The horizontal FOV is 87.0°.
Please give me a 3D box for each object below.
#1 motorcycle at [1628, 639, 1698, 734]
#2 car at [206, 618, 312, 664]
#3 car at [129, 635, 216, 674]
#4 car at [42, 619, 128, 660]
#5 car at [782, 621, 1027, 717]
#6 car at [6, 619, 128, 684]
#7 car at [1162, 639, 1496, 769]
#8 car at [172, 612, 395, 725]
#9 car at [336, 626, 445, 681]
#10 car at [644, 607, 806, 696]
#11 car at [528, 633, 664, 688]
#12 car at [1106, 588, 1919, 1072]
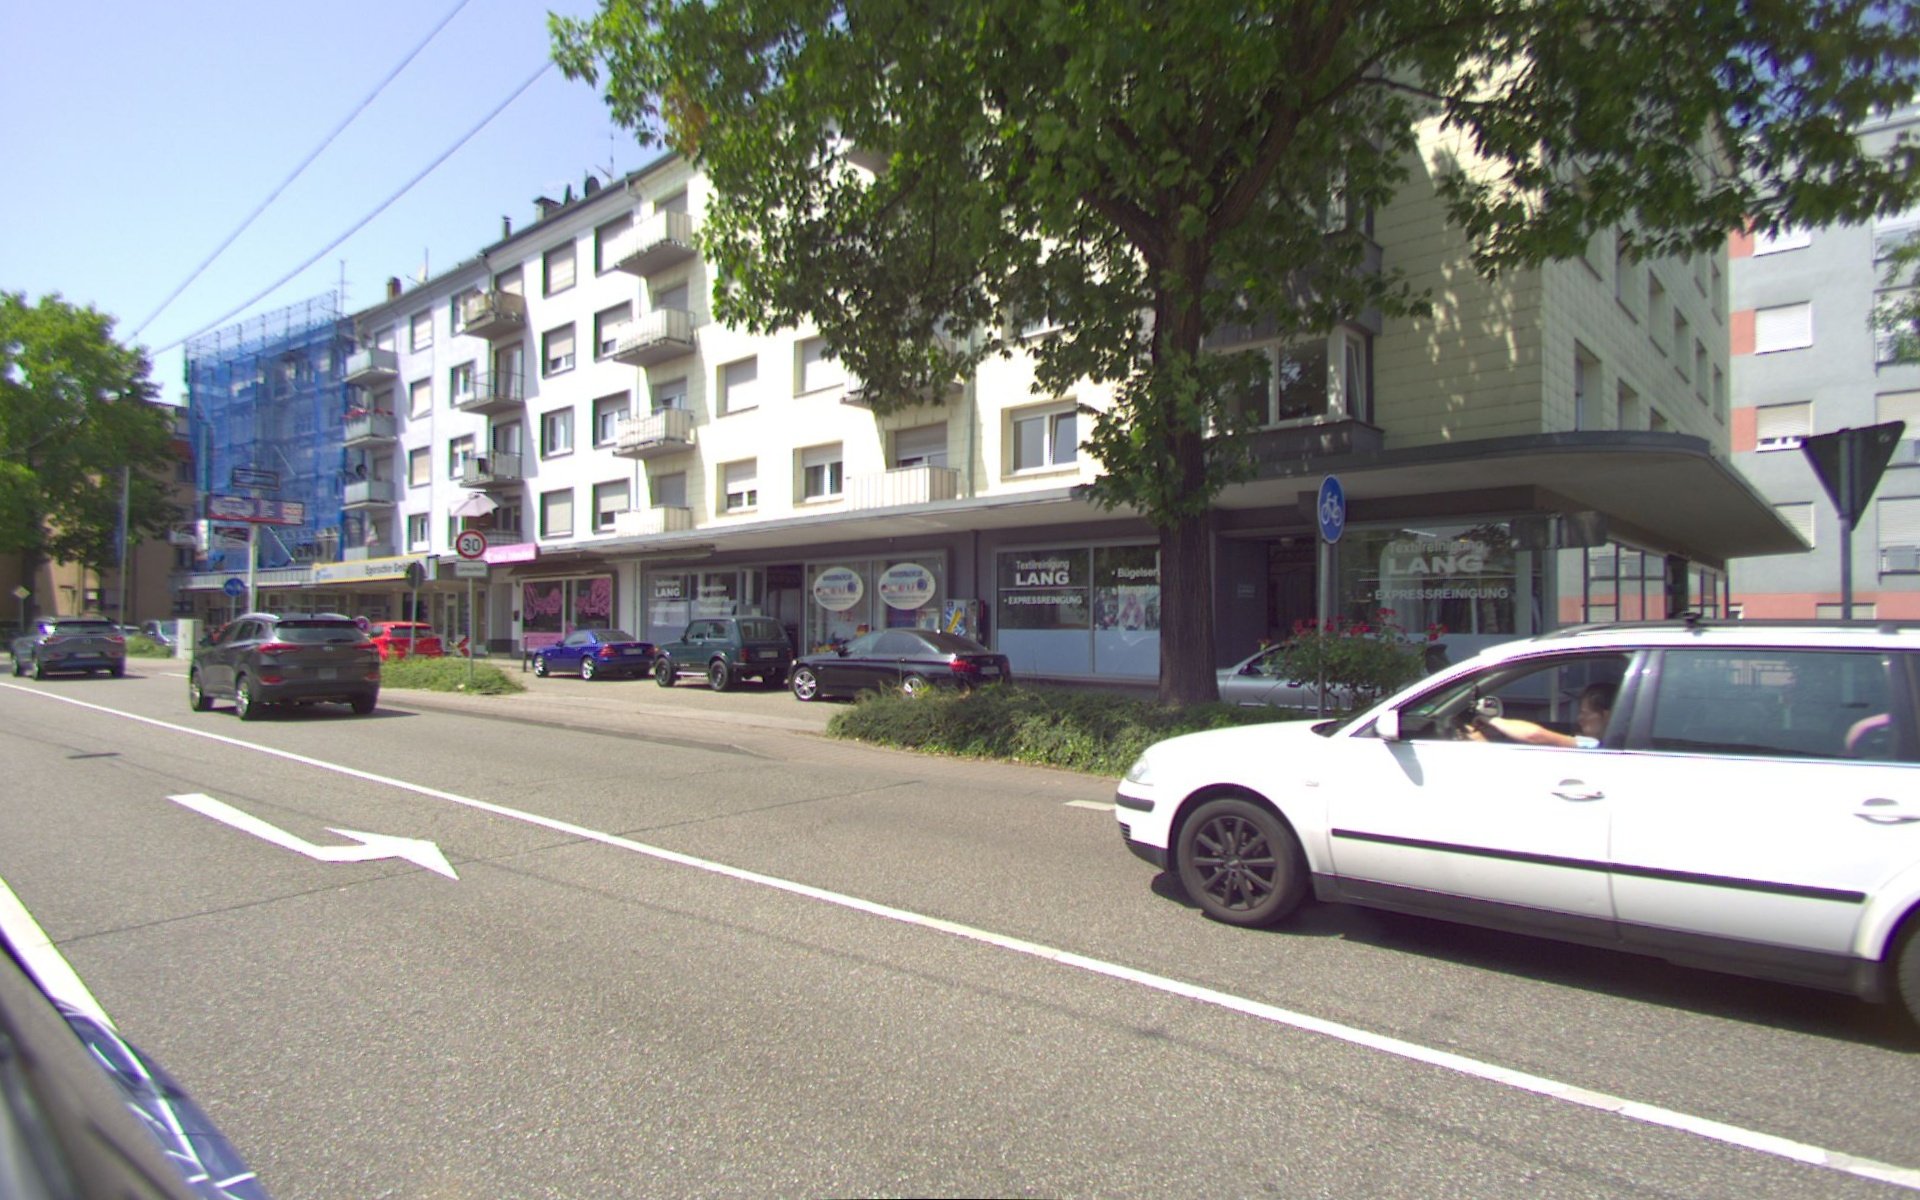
[{"bbox_3d":[11.650,1.390,16.748,0.714,1.431,1.894,0,0,42],"label":"motorcycle"},{"bbox_3d":[-24.722,1.435,35.649,4.328,1.531,1.889,-2,-3,39],"label":"car"},{"bbox_3d":[-32.673,2.228,41.962,4.328,1.531,1.889,-2,-3,39],"label":"car"},{"bbox_3d":[-40.599,1.815,46.939,4.321,1.819,1.892,-1,-2,33],"label":"car"},{"bbox_3d":[-1.159,1.198,18.844,4.837,1.581,1.605,-1,-2,42],"label":"car"},{"bbox_3d":[-24.074,1.342,27.246,3.997,1.619,1.904,-1,-2,40],"label":"car"},{"bbox_3d":[4.852,1.279,13.634,3.938,1.470,1.566,-1,-2,41],"label":"car"},{"bbox_3d":[-11.377,1.090,16.938,4.222,1.651,1.960,-2,-3,40],"label":"car"},{"bbox_3d":[-16.334,1.486,28.967,3.633,1.479,1.617,-1,-3,42],"label":"car"},{"bbox_3d":[-5.385,1.126,22.960,3.858,1.853,1.622,-2,-2,41],"label":"car"},{"bbox_3d":[-9.580,1.522,26.513,3.859,1.296,1.682,-1,-1,41],"label":"car"},{"bbox_3d":[3.080,0.773,4.375,4.628,1.530,1.796,-1,-3,41],"label":"car"}]
